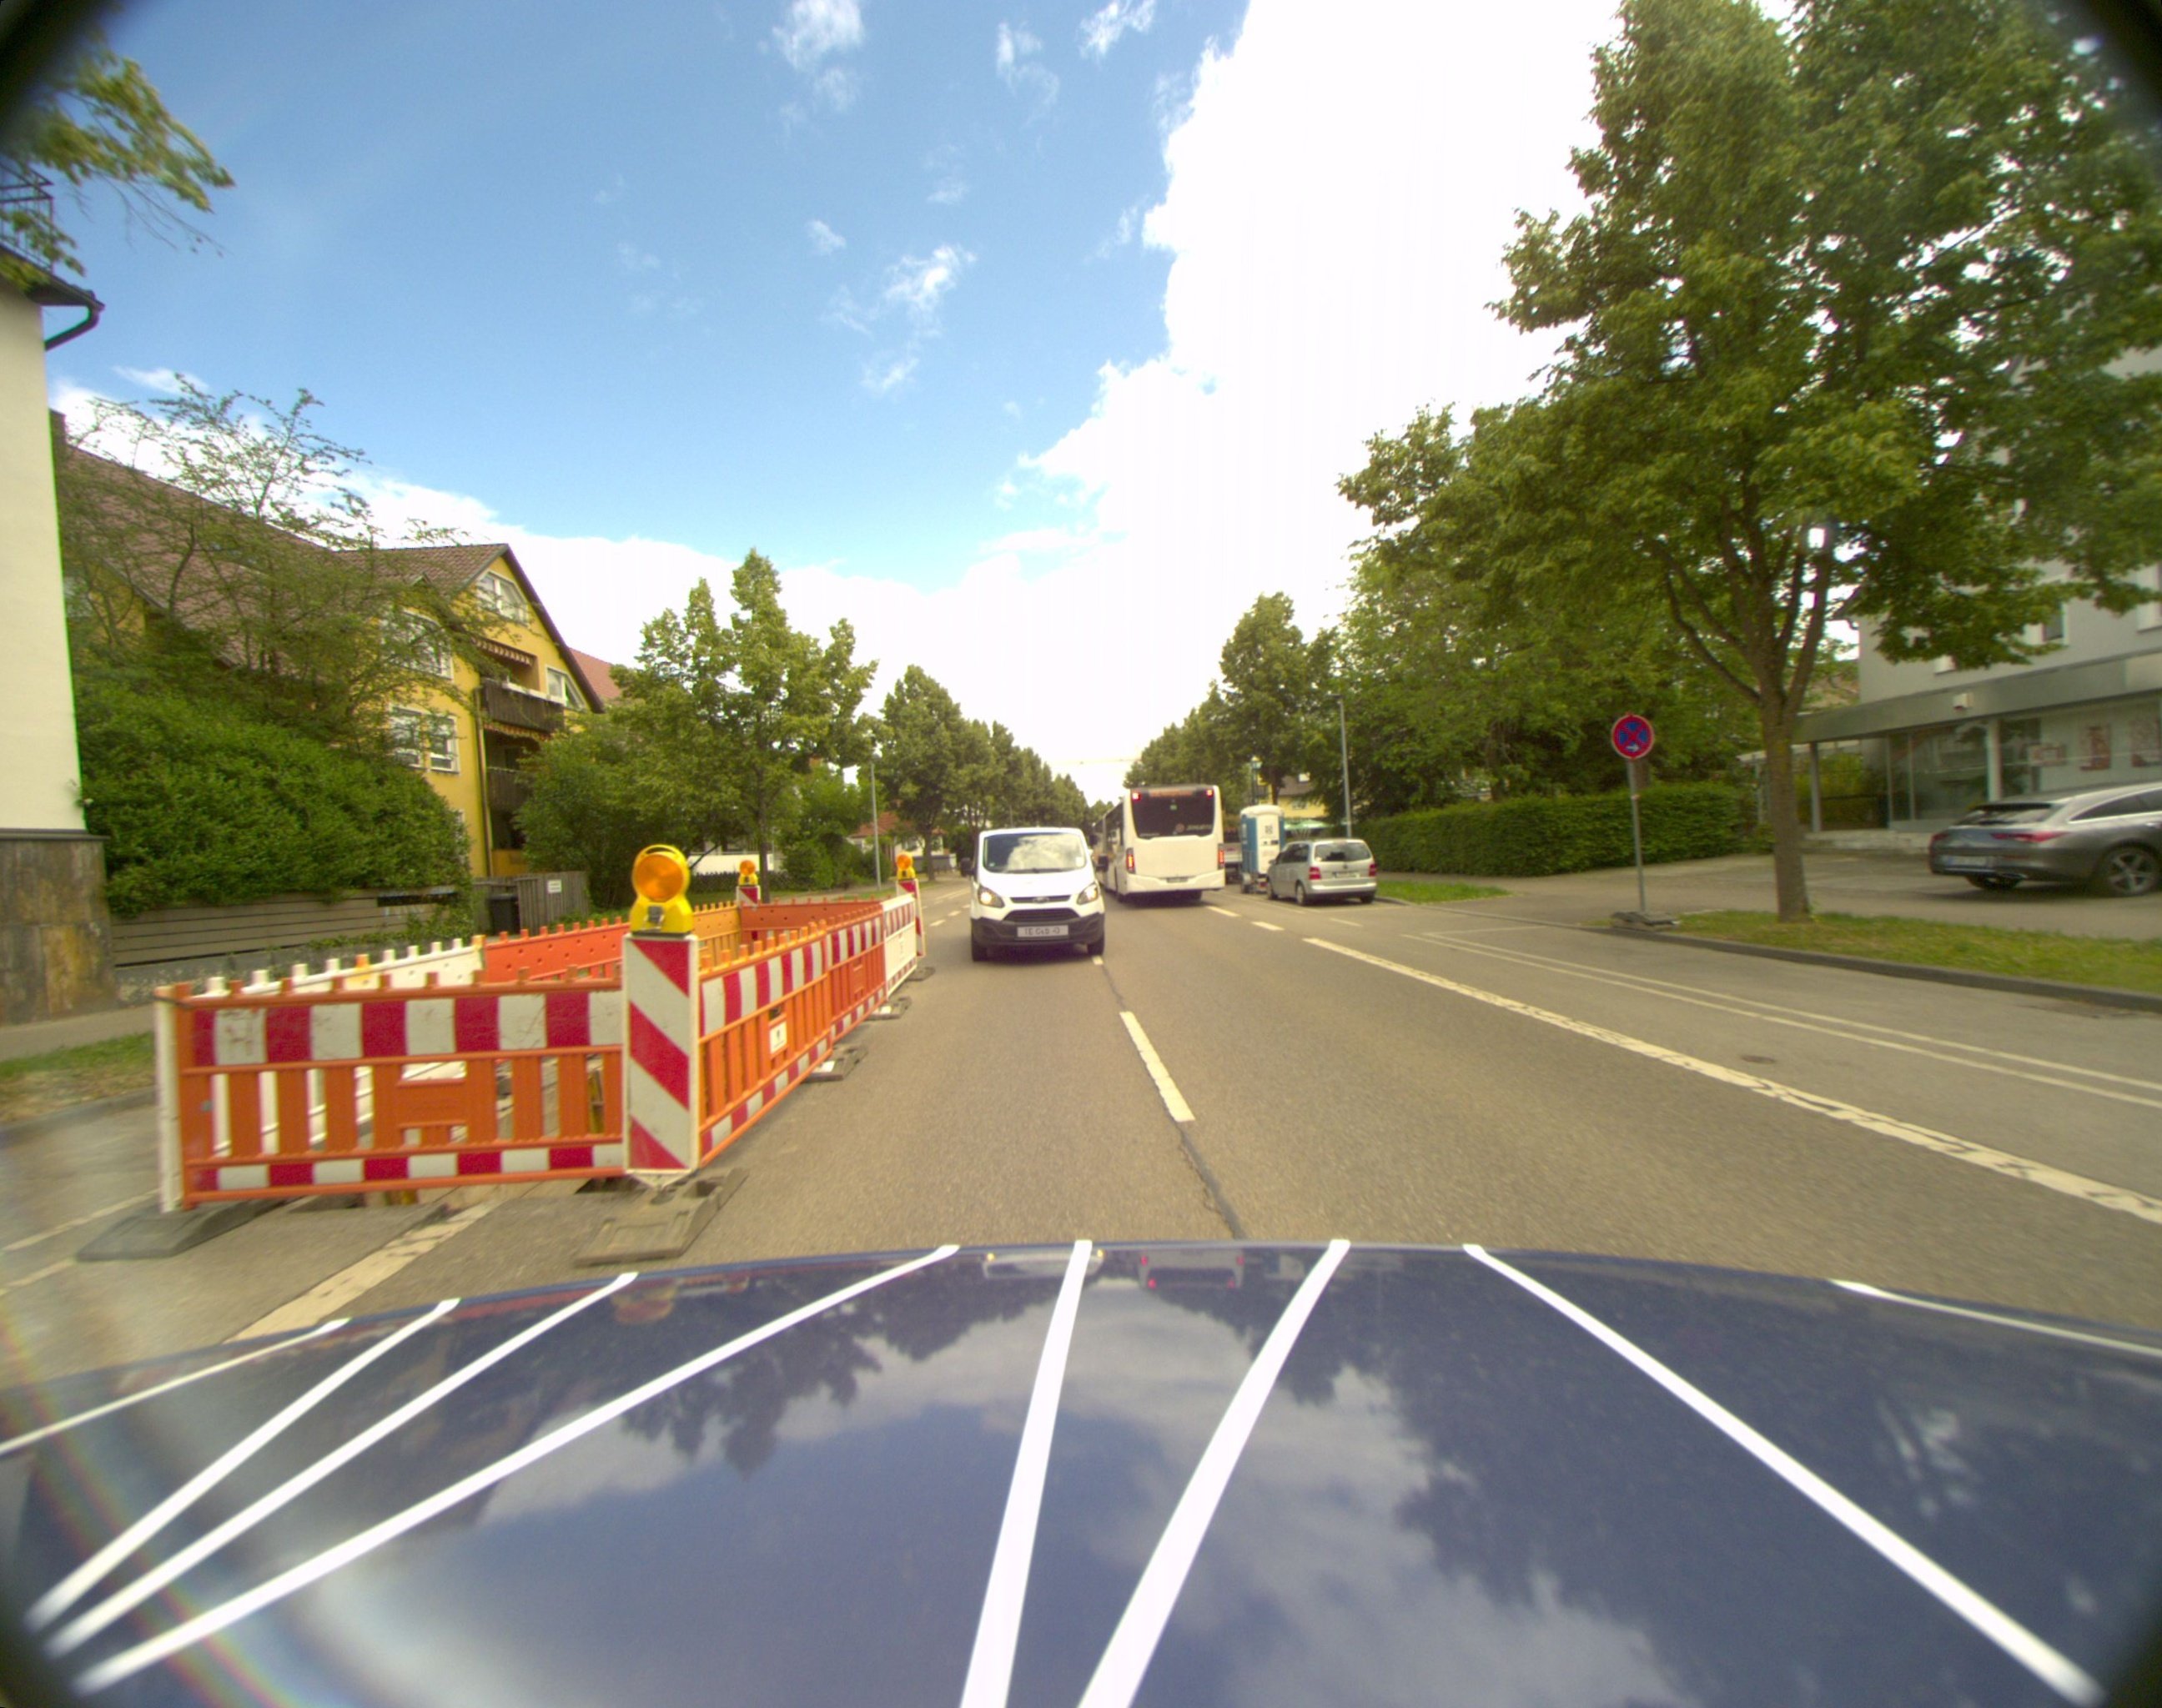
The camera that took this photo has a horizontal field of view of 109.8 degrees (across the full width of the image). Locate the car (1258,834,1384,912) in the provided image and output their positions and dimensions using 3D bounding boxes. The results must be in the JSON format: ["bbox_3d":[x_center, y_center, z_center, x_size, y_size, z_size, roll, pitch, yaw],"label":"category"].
[{"bbox_3d":[5.950,0.403,19.387,1.693,1.674,4.224,-4,1,-2],"label":"car"}]

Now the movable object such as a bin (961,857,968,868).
[{"bbox_3d":[-12.169,0.877,79.473,0.540,1.052,0.519,-3,1,16],"label":"movable object such as a bin"}]

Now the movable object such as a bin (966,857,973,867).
[{"bbox_3d":[-11.654,0.857,79.322,0.499,1.038,0.519,-3,1,15],"label":"movable object such as a bin"}]

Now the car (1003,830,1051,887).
[{"bbox_3d":[-2.604,0.200,37.698,1.999,2.584,3.999,-4,0,-1],"label":"car"}]

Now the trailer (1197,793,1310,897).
[{"bbox_3d":[5.625,-0.303,25.929,2.378,2.946,7.010,-3,1,2],"label":"trailer"}]

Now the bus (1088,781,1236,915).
[{"bbox_3d":[2.132,-0.309,28.121,2.812,3.270,18.037,-3,1,-2],"label":"bus"}]

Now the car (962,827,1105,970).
[{"bbox_3d":[-0.816,0.636,13.861,1.999,2.002,5.316,-3,1,-3],"label":"car"}]

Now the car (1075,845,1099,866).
[{"bbox_3d":[0.614,0.143,77.612,1.997,2.002,4.001,-2,1,6],"label":"car"}]

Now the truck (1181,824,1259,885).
[{"bbox_3d":[5.791,-0.009,32.660,2.300,2.274,6.463,-3,1,2],"label":"truck"}]

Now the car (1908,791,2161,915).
[{"bbox_3d":[14.405,-0.102,10.320,4.088,1.424,1.801,-5,0,6],"label":"car"}]
